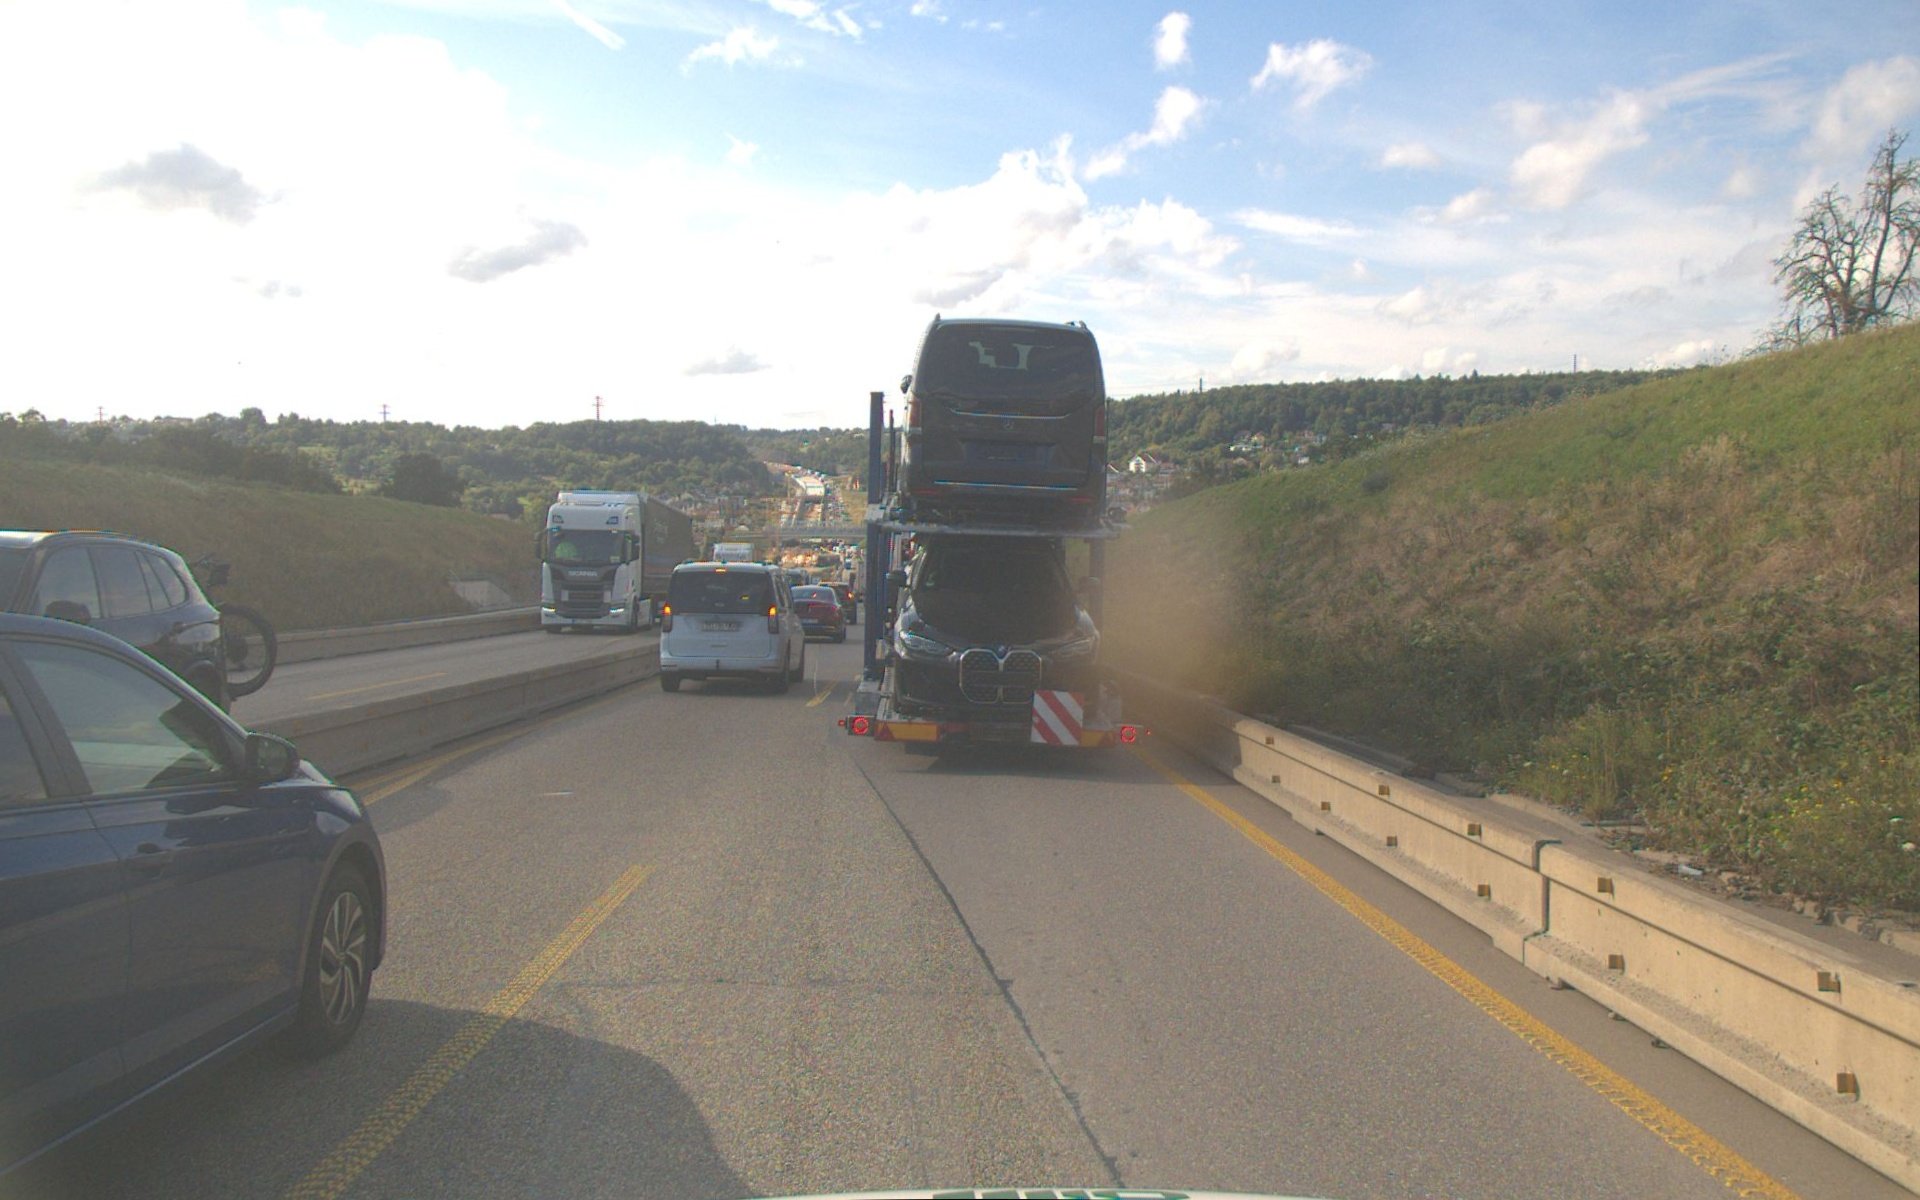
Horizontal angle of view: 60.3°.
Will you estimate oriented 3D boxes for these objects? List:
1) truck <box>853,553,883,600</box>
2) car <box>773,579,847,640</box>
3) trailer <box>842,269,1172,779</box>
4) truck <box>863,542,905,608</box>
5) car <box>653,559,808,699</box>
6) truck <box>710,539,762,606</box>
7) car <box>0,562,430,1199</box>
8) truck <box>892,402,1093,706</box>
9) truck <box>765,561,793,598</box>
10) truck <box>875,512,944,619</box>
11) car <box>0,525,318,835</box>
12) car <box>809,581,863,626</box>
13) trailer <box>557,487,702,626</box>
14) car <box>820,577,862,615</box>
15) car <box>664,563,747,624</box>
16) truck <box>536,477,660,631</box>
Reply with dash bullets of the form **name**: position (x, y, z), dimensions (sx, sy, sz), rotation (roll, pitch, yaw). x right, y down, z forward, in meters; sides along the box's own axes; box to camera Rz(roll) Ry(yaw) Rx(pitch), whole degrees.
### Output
- **truck**: position (-9.470, -2.411, 169.466), dimensions (2.807, 4.650, 11.648), rotation (0, 1, -4)
- **car**: position (-4.054, 0.227, 45.290), dimensions (1.787, 1.518, 4.682), rotation (2, 1, -3)
- **trailer**: position (0.208, -0.664, 19.082), dimensions (2.653, 4.099, 11.415), rotation (0, 1, -2)
- **truck**: position (-5.671, -1.841, 122.211), dimensions (2.807, 4.650, 11.648), rotation (0, 1, -4)
- **car**: position (-3.330, 0.359, 24.766), dimensions (1.786, 1.855, 4.455), rotation (2, 1, -2)
- **truck**: position (-14.636, -1.746, 108.509), dimensions (2.586, 4.171, 10.810), rotation (0, 1, -4)
- **car**: position (-2.678, 0.676, 3.751), dimensions (1.680, 1.534, 3.999), rotation (1, 0, -1)
- **truck**: position (0.302, -0.632, 24.806), dimensions (2.624, 3.990, 6.024), rotation (0, 0, -3)
- **truck**: position (-21.462, -2.411, 196.512), dimensions (2.585, 4.171, 10.814), rotation (0, 1, -2)
- **truck**: position (-2.512, -1.579, 78.132), dimensions (2.807, 4.650, 11.648), rotation (0, 1, -4)
- **car**: position (-6.459, 0.398, 11.420), dimensions (1.908, 1.777, 5.579), rotation (1, 1, -1)
- **car**: position (-4.883, 0.113, 65.621), dimensions (1.954, 1.653, 4.748), rotation (1, 1, -3)
- **trailer**: position (-10.743, -1.339, 55.241), dimensions (2.562, 4.023, 13.868), rotation (0, 1, -2)
- **car**: position (-5.329, -0.190, 74.521), dimensions (1.760, 1.624, 4.740), rotation (0, 0, -3)
- **car**: position (-7.235, -0.147, 47.404), dimensions (1.784, 1.631, 3.999), rotation (1, -1, -1)
- **truck**: position (-10.506, -1.294, 48.515), dimensions (2.562, 4.226, 5.779), rotation (0, 0, -2)
